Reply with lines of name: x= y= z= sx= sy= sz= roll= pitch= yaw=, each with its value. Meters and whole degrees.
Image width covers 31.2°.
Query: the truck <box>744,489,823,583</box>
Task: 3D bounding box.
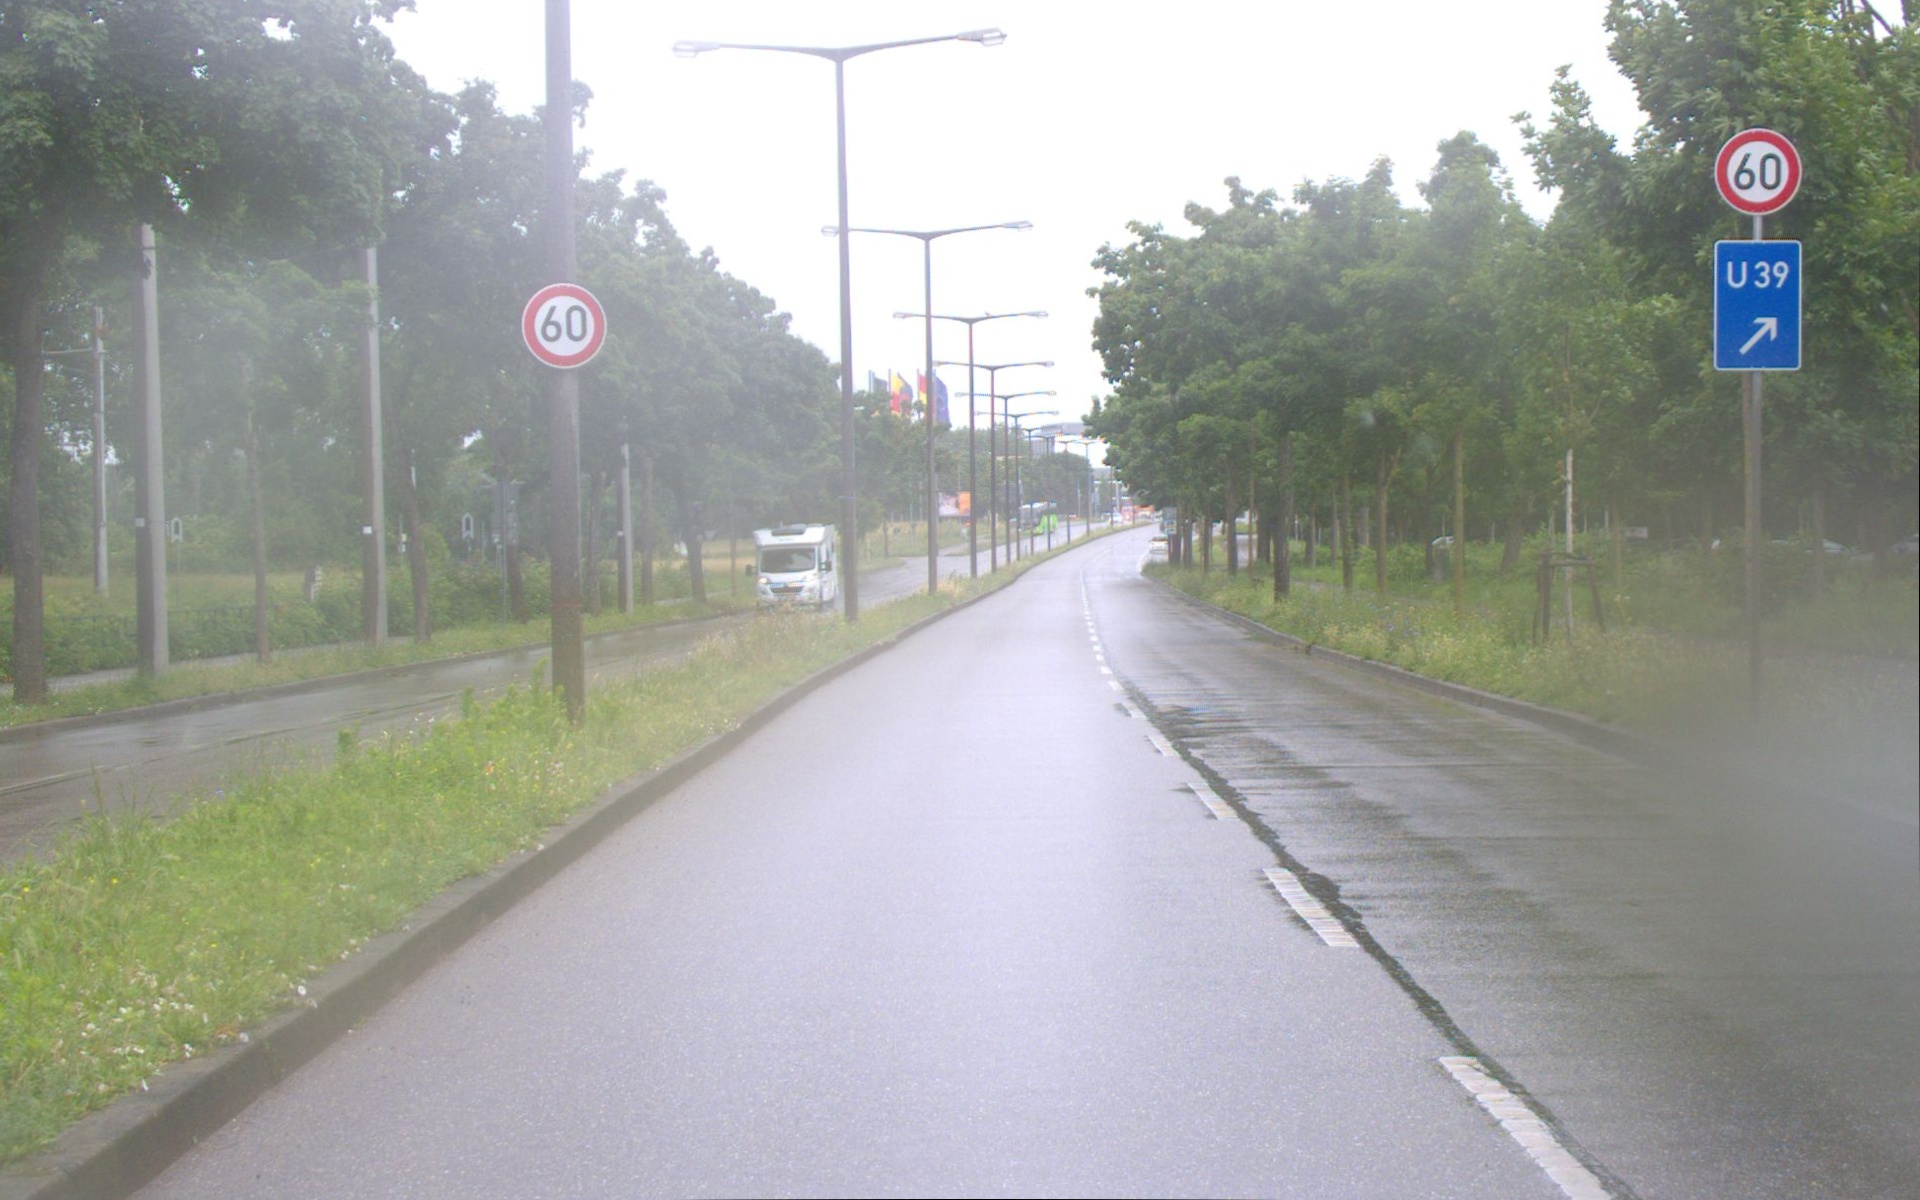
truck: x=-5.622 y=-2.009 z=110.072 sx=2.138 sy=2.834 sz=5.074 roll=-3 pitch=0 yaw=0
